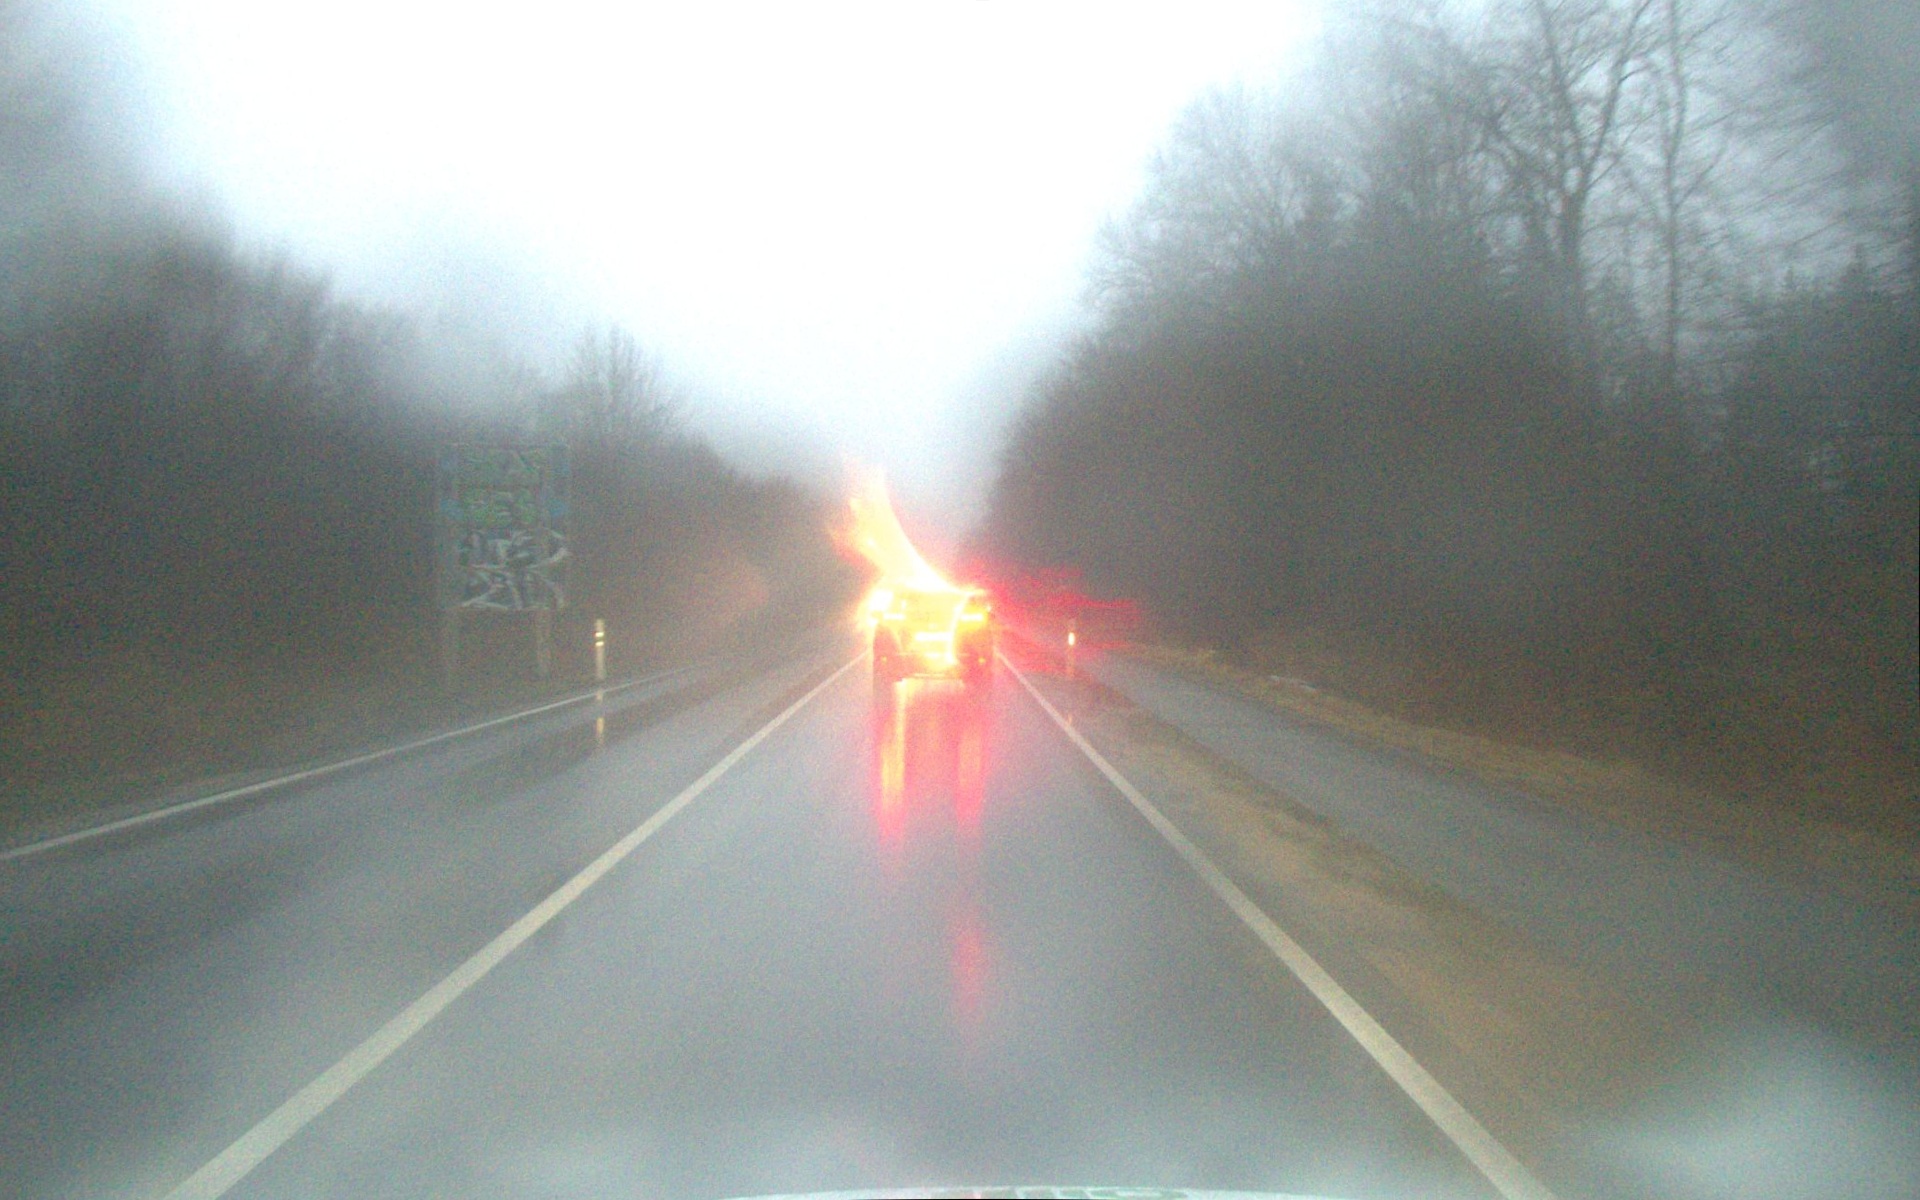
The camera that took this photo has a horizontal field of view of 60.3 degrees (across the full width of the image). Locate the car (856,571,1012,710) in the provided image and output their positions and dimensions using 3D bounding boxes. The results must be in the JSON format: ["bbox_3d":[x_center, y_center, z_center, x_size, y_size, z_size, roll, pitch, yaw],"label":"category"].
[{"bbox_3d":[-0.403,0.572,25.468,2.153,1.910,4.826,1,0,-1],"label":"car"}]
